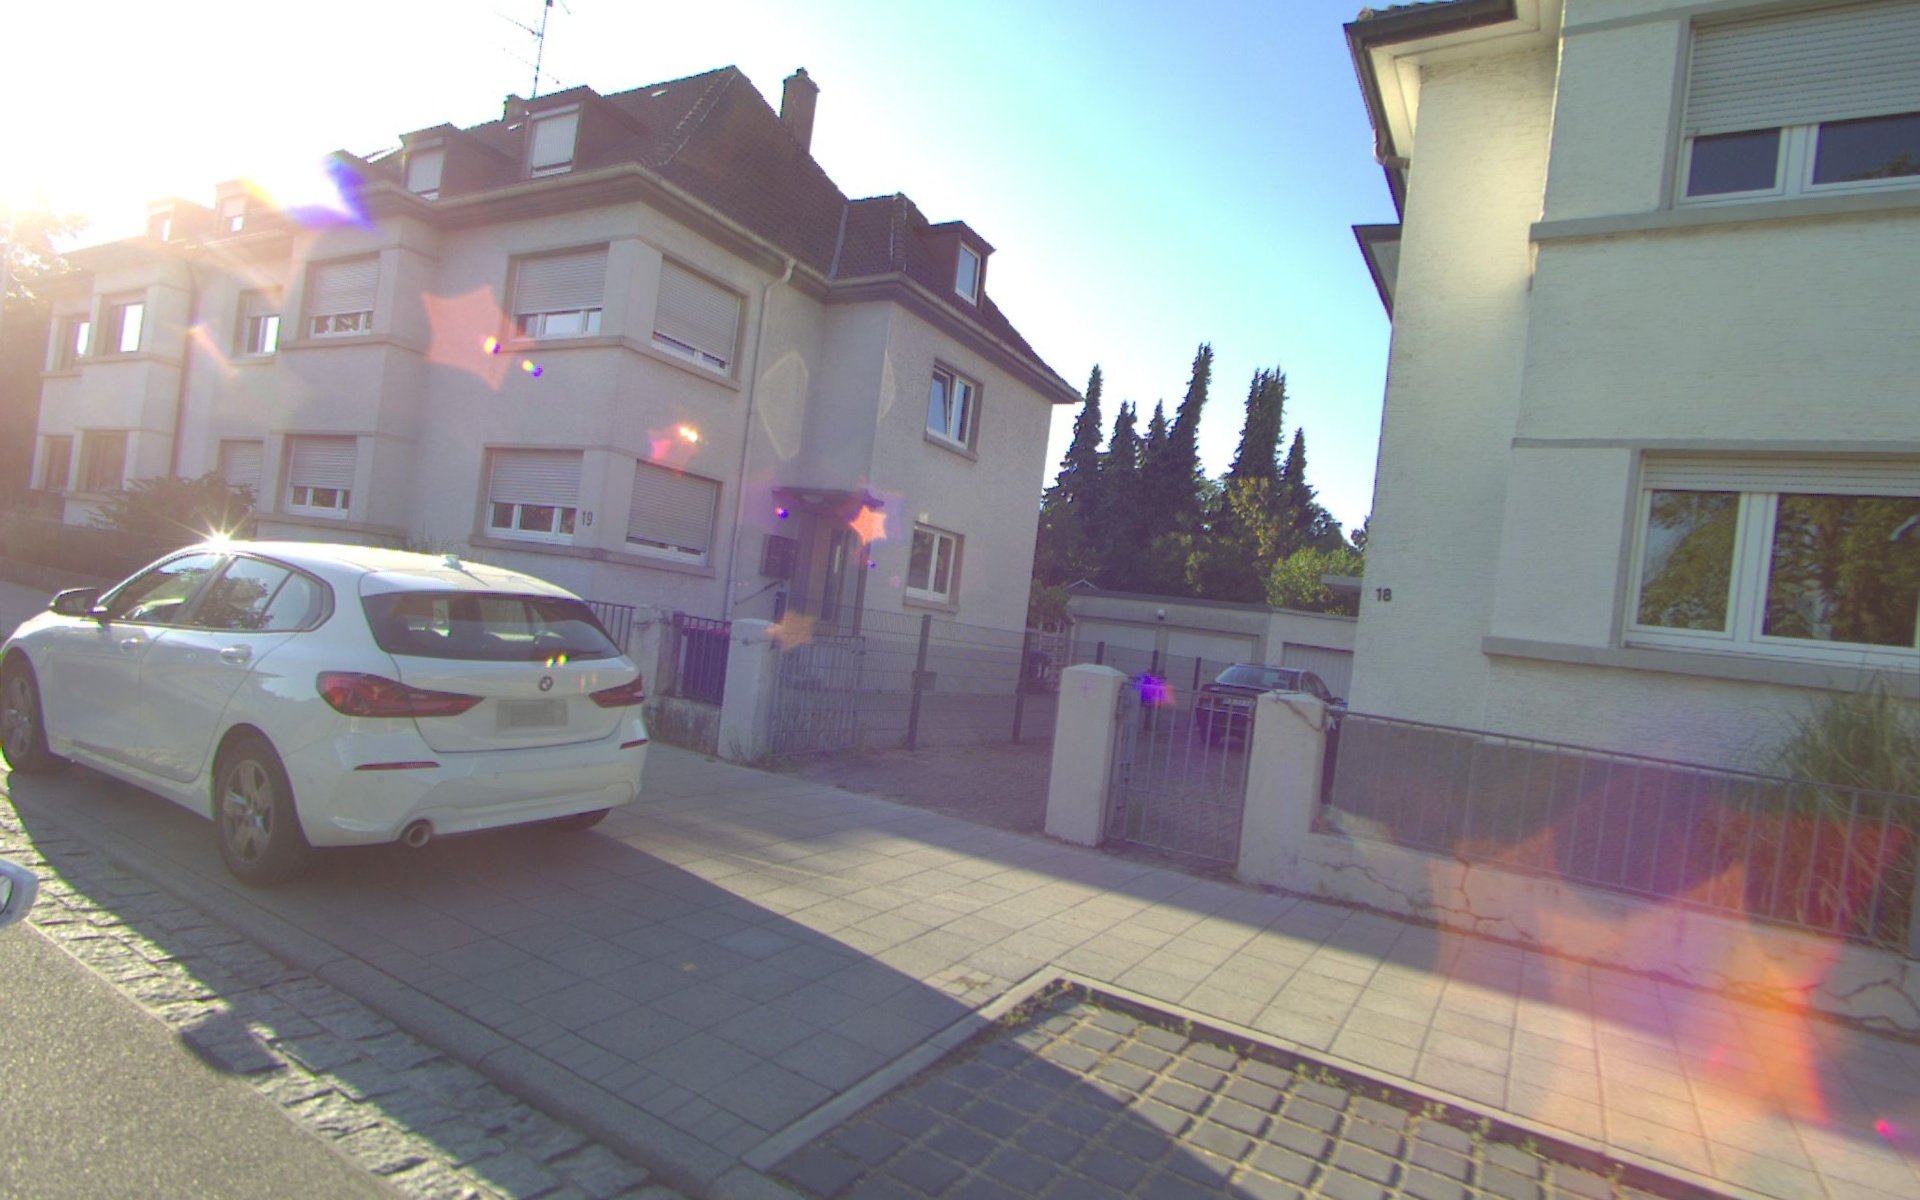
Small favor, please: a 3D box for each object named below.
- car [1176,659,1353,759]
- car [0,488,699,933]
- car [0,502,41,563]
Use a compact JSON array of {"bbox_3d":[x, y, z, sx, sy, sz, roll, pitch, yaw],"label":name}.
[{"bbox_3d":[5.250,1.845,17.049,1.639,1.305,3.824,6,-2,36],"label":"car"},{"bbox_3d":[-3.684,0.347,5.617,4.162,1.526,1.785,7,0,31],"label":"car"},{"bbox_3d":[-26.298,-1.957,25.773,1.751,1.514,3.639,6,-1,31],"label":"car"}]
